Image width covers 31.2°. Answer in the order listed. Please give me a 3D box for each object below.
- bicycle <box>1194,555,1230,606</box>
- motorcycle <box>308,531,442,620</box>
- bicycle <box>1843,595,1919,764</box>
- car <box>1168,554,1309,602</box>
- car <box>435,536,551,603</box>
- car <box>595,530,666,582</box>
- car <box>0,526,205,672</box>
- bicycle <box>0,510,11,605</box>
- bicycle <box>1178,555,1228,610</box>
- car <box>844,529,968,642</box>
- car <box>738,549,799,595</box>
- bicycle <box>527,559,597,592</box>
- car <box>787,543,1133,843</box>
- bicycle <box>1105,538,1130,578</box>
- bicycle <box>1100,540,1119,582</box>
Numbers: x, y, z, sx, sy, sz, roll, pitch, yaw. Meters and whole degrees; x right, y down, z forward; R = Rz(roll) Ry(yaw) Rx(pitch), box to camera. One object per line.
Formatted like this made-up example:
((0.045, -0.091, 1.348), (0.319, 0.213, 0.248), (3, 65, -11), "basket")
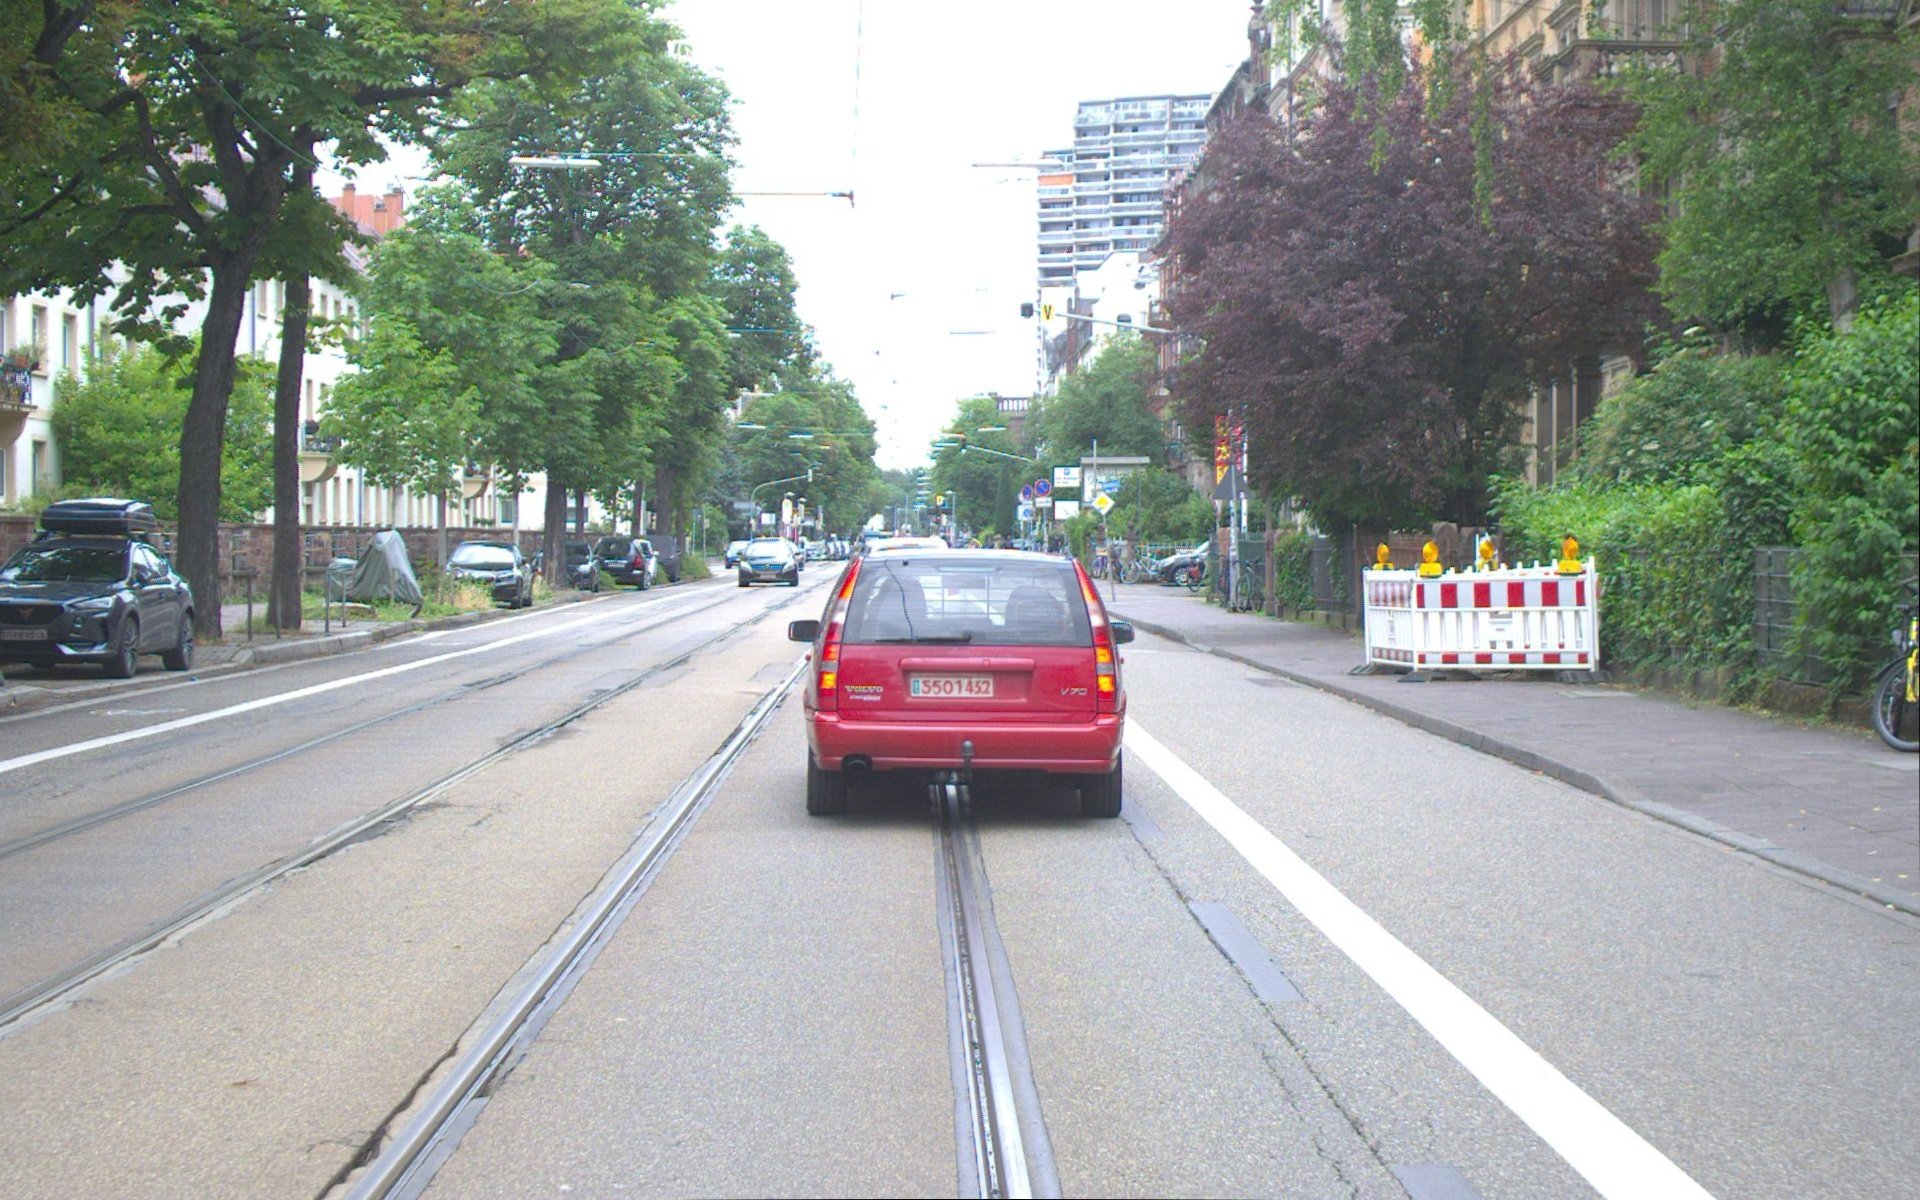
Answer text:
((5.180, -0.407, 70.776), (0.523, 1.027, 2.176), (-1, 1, -1), "bicycle")
((-10.180, -0.430, 59.775), (2.269, 1.506, 0.925), (1, -1, 34), "motorcycle")
((6.181, 0.499, 22.328), (0.479, 1.041, 1.531), (0, 1, 0), "bicycle")
((8.178, -0.650, 100.838), (3.988, 1.357, 1.891), (0, 1, 10), "car")
((-10.148, -0.689, 74.943), (1.890, 1.393, 4.417), (1, 1, 0), "car")
((-10.086, -1.367, 105.415), (1.851, 1.558, 3.943), (1, 1, -1), "car")
((-9.715, -0.053, 38.022), (1.777, 1.505, 4.238), (1, 1, 0), "car")
((-14.240, -0.602, 49.110), (0.792, 1.377, 2.141), (0, 1, -1), "bicycle")
((6.863, -0.499, 96.893), (0.918, 1.502, 2.379), (1, 1, 16), "bicycle")
((-0.785, -0.244, 52.045), (1.719, 1.619, 3.941), (1, 1, 1), "car")
((-5.927, -0.872, 106.739), (1.755, 1.375, 4.027), (0, 1, -2), "car")
((-10.409, -0.640, 89.991), (1.748, 0.841, 0.684), (1, 1, 0), "bicycle")
((-0.028, 0.434, 18.996), (1.689, 1.436, 3.743), (1, 1, -1), "car")
((5.131, -1.389, 112.312), (0.708, 1.296, 1.904), (0, 1, -1), "bicycle")
((5.027, -1.311, 115.822), (0.551, 1.395, 1.734), (0, 1, -1), "bicycle")
